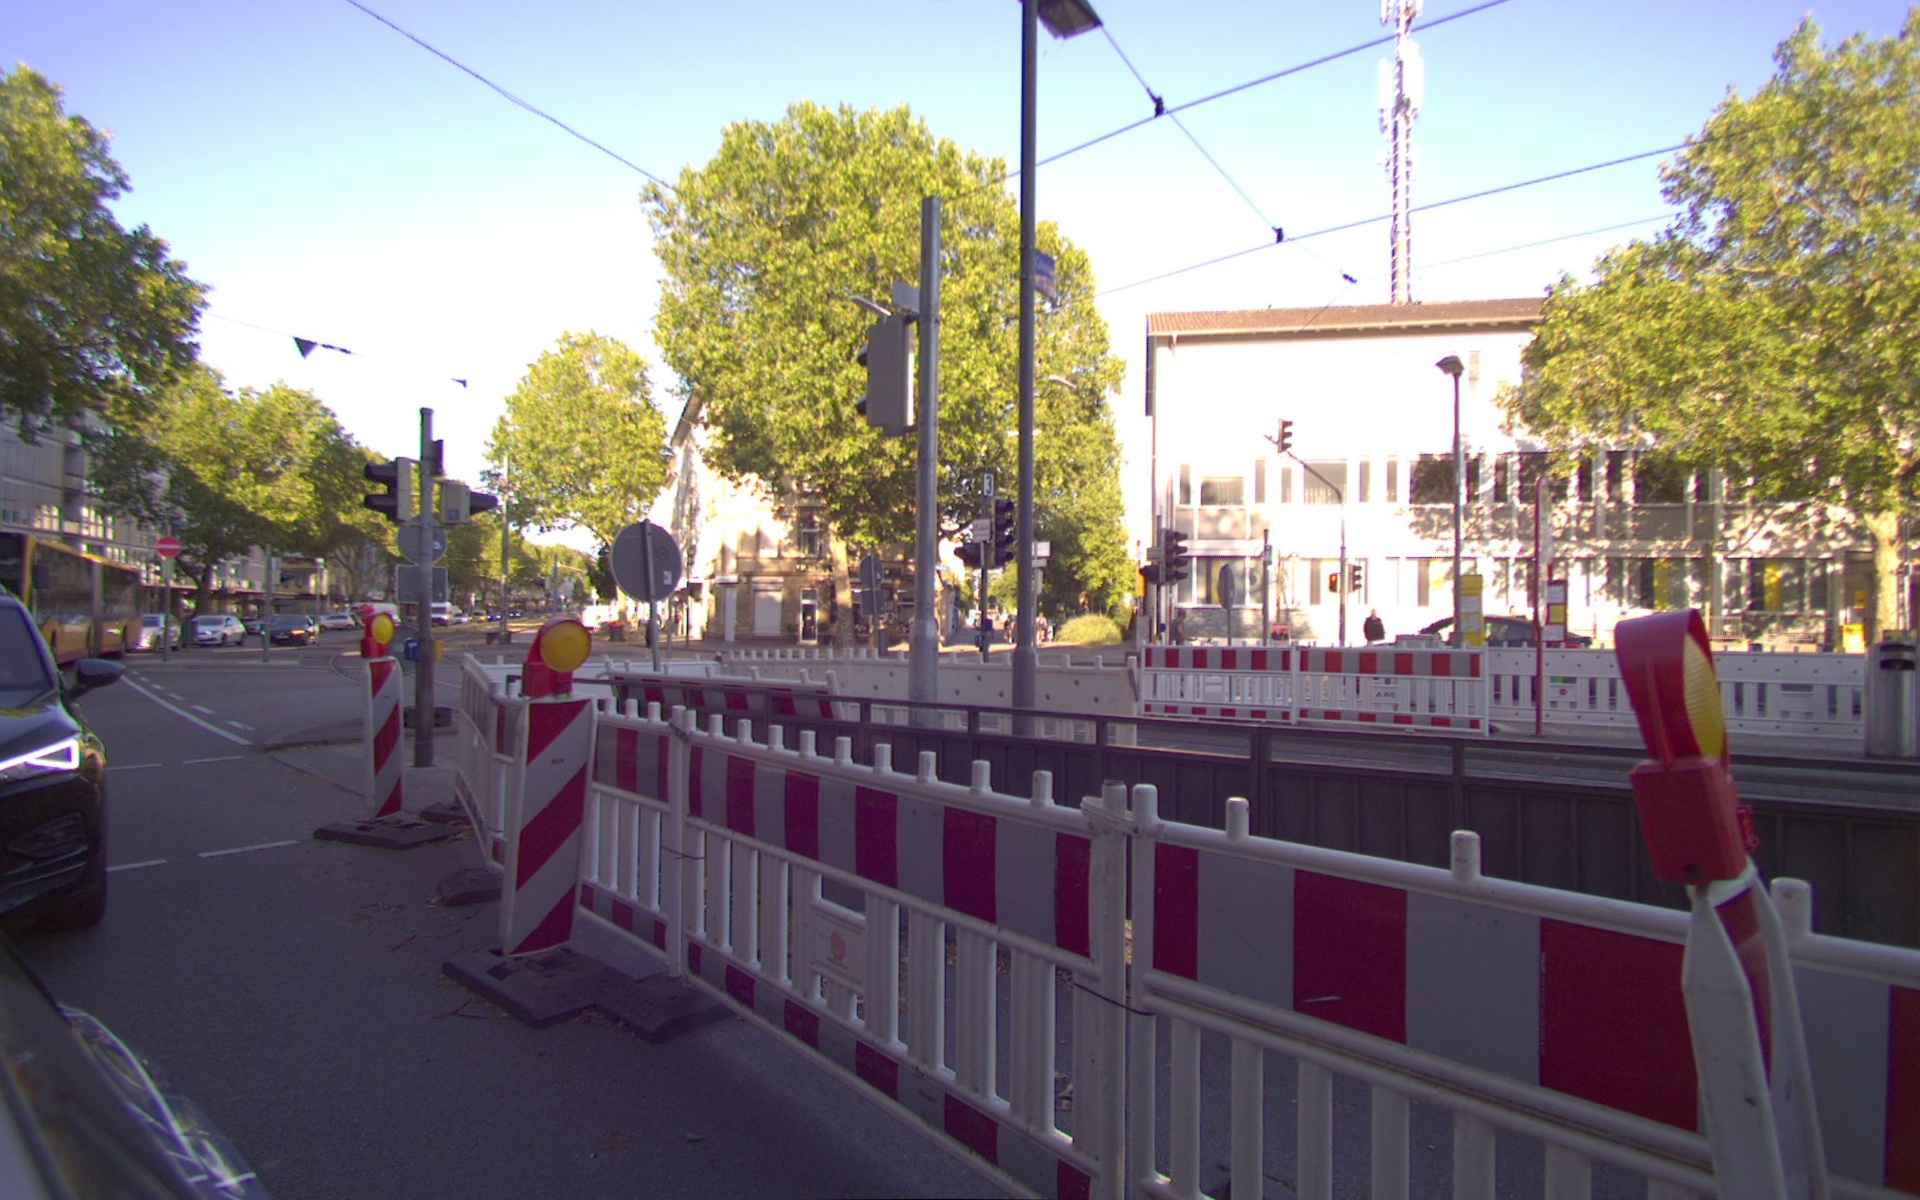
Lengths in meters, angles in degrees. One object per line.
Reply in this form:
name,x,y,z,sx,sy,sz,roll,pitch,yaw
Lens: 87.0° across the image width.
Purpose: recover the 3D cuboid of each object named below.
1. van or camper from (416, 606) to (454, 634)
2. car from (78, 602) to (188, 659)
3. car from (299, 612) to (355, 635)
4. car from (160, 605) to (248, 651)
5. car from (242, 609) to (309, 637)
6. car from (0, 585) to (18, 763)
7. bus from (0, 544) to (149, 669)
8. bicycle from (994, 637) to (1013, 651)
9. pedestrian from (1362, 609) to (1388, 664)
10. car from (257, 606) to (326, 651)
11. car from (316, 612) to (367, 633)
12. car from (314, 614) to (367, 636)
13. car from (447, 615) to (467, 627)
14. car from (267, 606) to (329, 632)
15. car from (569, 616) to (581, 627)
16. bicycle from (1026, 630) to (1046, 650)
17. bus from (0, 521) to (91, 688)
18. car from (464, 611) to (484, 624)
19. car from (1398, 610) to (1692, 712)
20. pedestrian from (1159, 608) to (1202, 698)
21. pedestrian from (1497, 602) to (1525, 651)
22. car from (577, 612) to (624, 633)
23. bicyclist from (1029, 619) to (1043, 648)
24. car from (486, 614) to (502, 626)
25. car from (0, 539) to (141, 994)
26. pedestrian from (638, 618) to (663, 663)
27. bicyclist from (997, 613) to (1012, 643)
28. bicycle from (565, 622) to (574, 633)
van or camper,-53.276,2.017,102.897,2.385,2.739,6.151,1,-1,-18
car,-30.851,1.131,37.894,1.965,2.029,4.111,1,-1,-21
car,-56.029,2.096,89.583,3.938,2.029,2.002,1,-2,-42
car,-34.944,1.303,46.926,1.966,2.029,4.012,1,-1,-17
car,-50.616,1.716,74.936,3.932,2.029,2.006,1,-2,-31
car,-11.015,0.690,10.079,4.073,1.656,1.973,-1,-2,41
bus,-25.945,0.236,29.265,2.676,3.130,8.622,1,-2,-31
bicycle,2.616,2.610,60.189,0.676,0.788,1.979,0,-1,17
pedestrian,12.087,1.051,29.474,0.649,1.564,0.563,-1,-2,28
car,-31.662,1.328,48.071,1.965,2.029,4.013,1,-1,-22
car,-60.243,2.198,98.536,3.938,2.029,2.002,1,-2,-42
car,-57.921,2.327,94.613,3.938,2.029,2.002,1,-2,-42
car,-59.403,2.489,119.600,1.675,1.481,3.776,1,-1,-19
car,-53.918,1.541,82.405,3.938,2.029,2.002,1,-2,-42
car,-69.842,3.929,183.699,1.965,2.029,4.013,1,-1,-20
bicycle,4.099,2.160,54.375,0.672,1.039,2.179,0,-1,15
bus,-21.063,0.135,21.928,2.678,3.130,8.641,1,-2,-36
car,-64.976,2.359,135.330,1.809,1.816,4.143,1,-2,-19
car,10.874,1.053,18.973,4.552,1.674,1.974,-1,-2,38
pedestrian,4.399,1.038,20.222,0.545,1.760,0.693,1,-2,-24
pedestrian,16.633,0.788,30.561,0.580,1.466,0.583,0,-1,15
car,-34.418,2.146,97.075,1.990,2.029,3.963,0,-2,27
bicyclist,4.085,1.775,54.384,0.571,1.538,0.841,0,-1,15
car,-73.094,3.098,158.841,1.809,1.816,4.143,1,-2,-19
car,-5.463,0.641,4.773,3.998,1.719,1.818,-1,-2,41
pedestrian,-10.659,1.385,34.878,0.594,1.545,0.746,1,-2,-38
bicyclist,2.657,1.665,60.336,0.668,1.741,0.760,0,-2,18
bicycle,-42.276,2.983,109.528,0.837,1.202,2.474,1,-1,-23
